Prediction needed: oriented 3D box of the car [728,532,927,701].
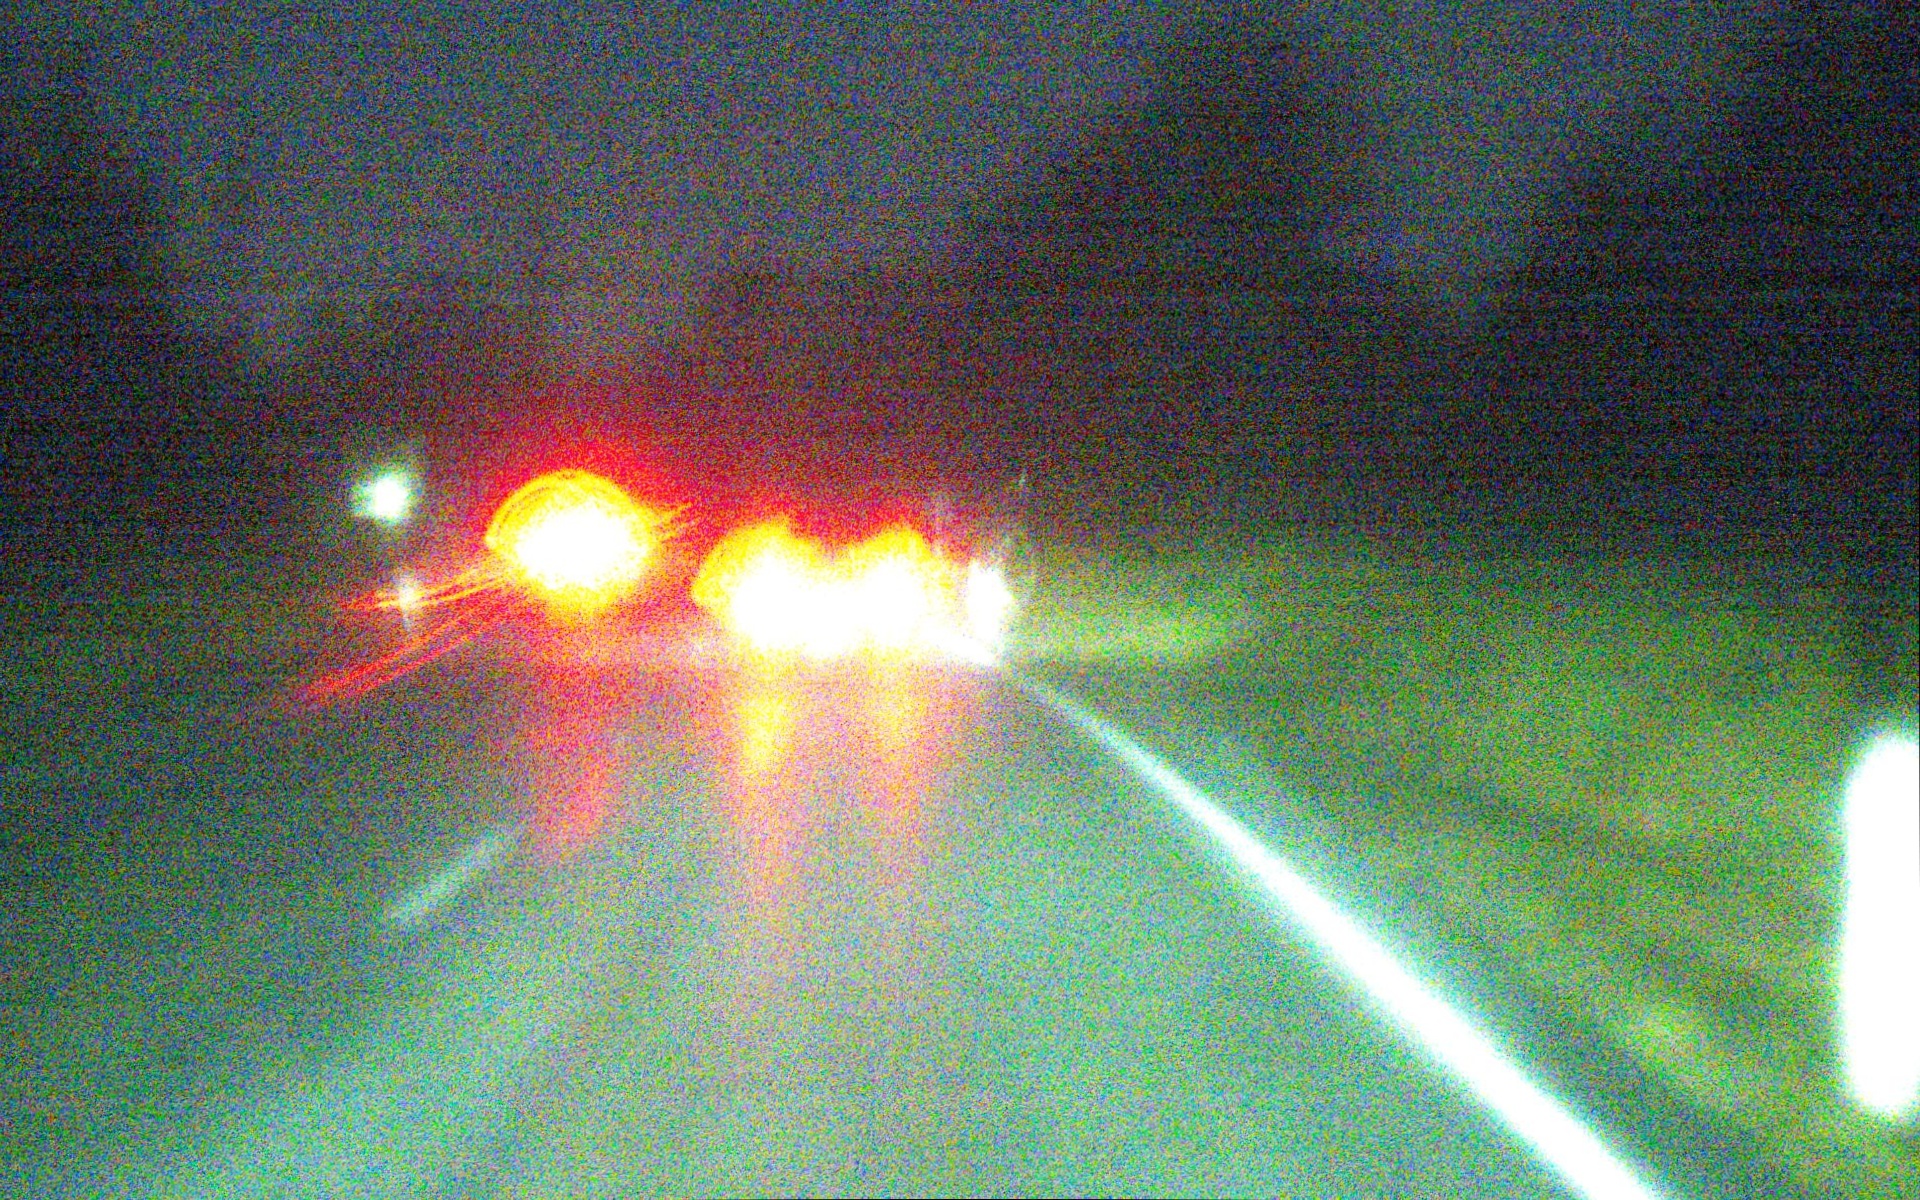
[{"bbox_3d":[-1.436,0.122,37.018,1.993,1.622,4.985,0,2,-2],"label":"car"}]
